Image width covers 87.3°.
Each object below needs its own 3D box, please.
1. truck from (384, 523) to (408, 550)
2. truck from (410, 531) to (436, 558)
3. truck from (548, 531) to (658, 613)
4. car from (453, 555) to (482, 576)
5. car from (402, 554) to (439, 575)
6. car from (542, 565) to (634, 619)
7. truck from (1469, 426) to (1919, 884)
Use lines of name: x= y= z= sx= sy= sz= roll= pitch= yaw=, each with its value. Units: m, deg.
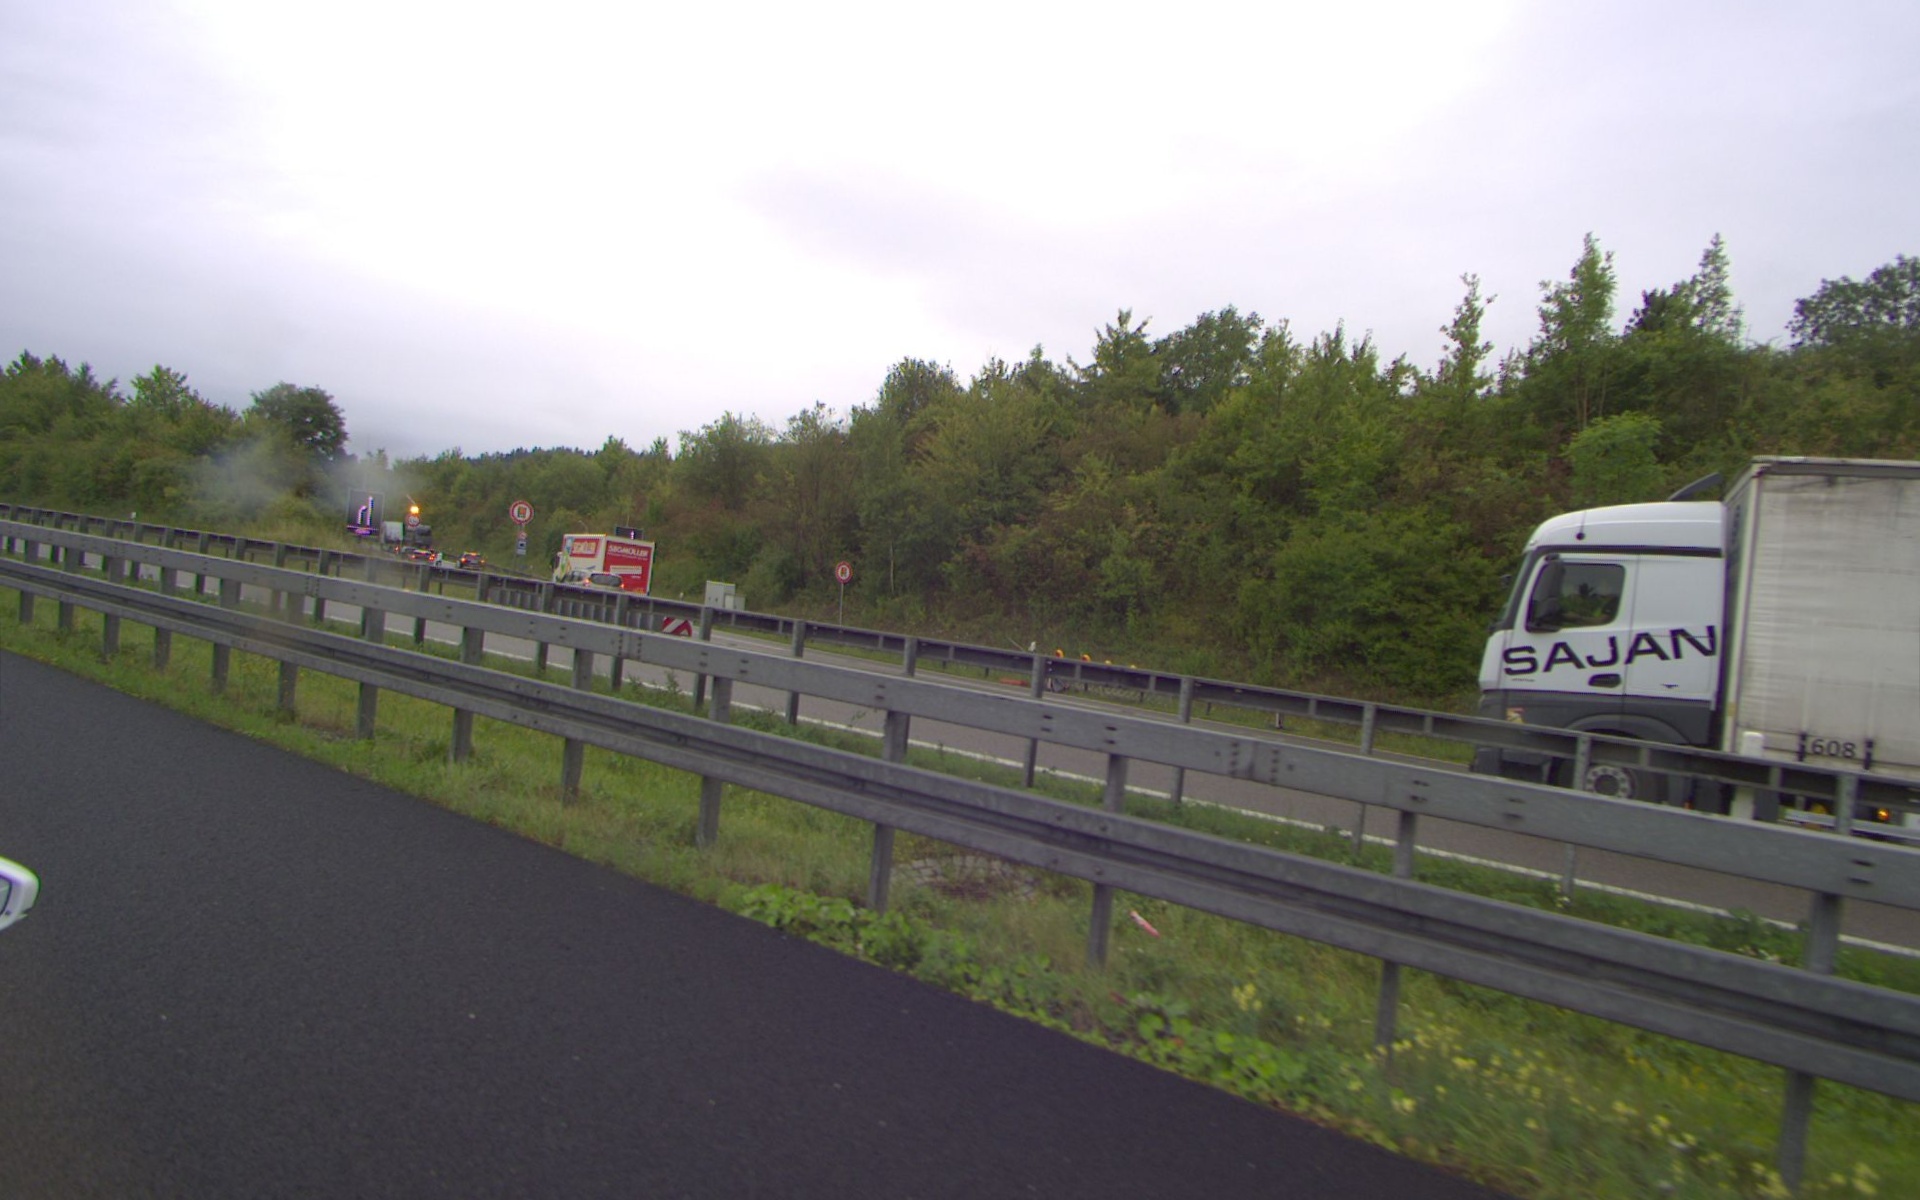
truck: x=-71.153 y=-7.990 z=127.022 sx=2.227 sy=2.913 sz=8.113 roll=7 pitch=-1 yaw=-29
truck: x=-64.062 y=-6.623 z=120.129 sx=2.420 sy=2.737 sz=5.529 roll=7 pitch=-1 yaw=-28
truck: x=-18.031 y=-1.491 z=50.317 sx=2.880 sy=3.435 sz=8.896 roll=7 pitch=-1 yaw=-33
car: x=-42.808 y=-2.997 z=87.375 sx=1.847 sy=1.464 sz=4.124 roll=7 pitch=-1 yaw=-31
car: x=-45.533 y=-3.011 z=84.898 sx=1.852 sy=1.465 sz=4.112 roll=8 pitch=-1 yaw=-40
car: x=-14.633 y=-0.351 z=39.465 sx=1.852 sy=1.678 sz=4.423 roll=7 pitch=-1 yaw=-40
truck: x=11.326 y=0.811 z=10.408 sx=10.243 sy=4.341 sz=3.443 roll=7 pitch=0 yaw=31
